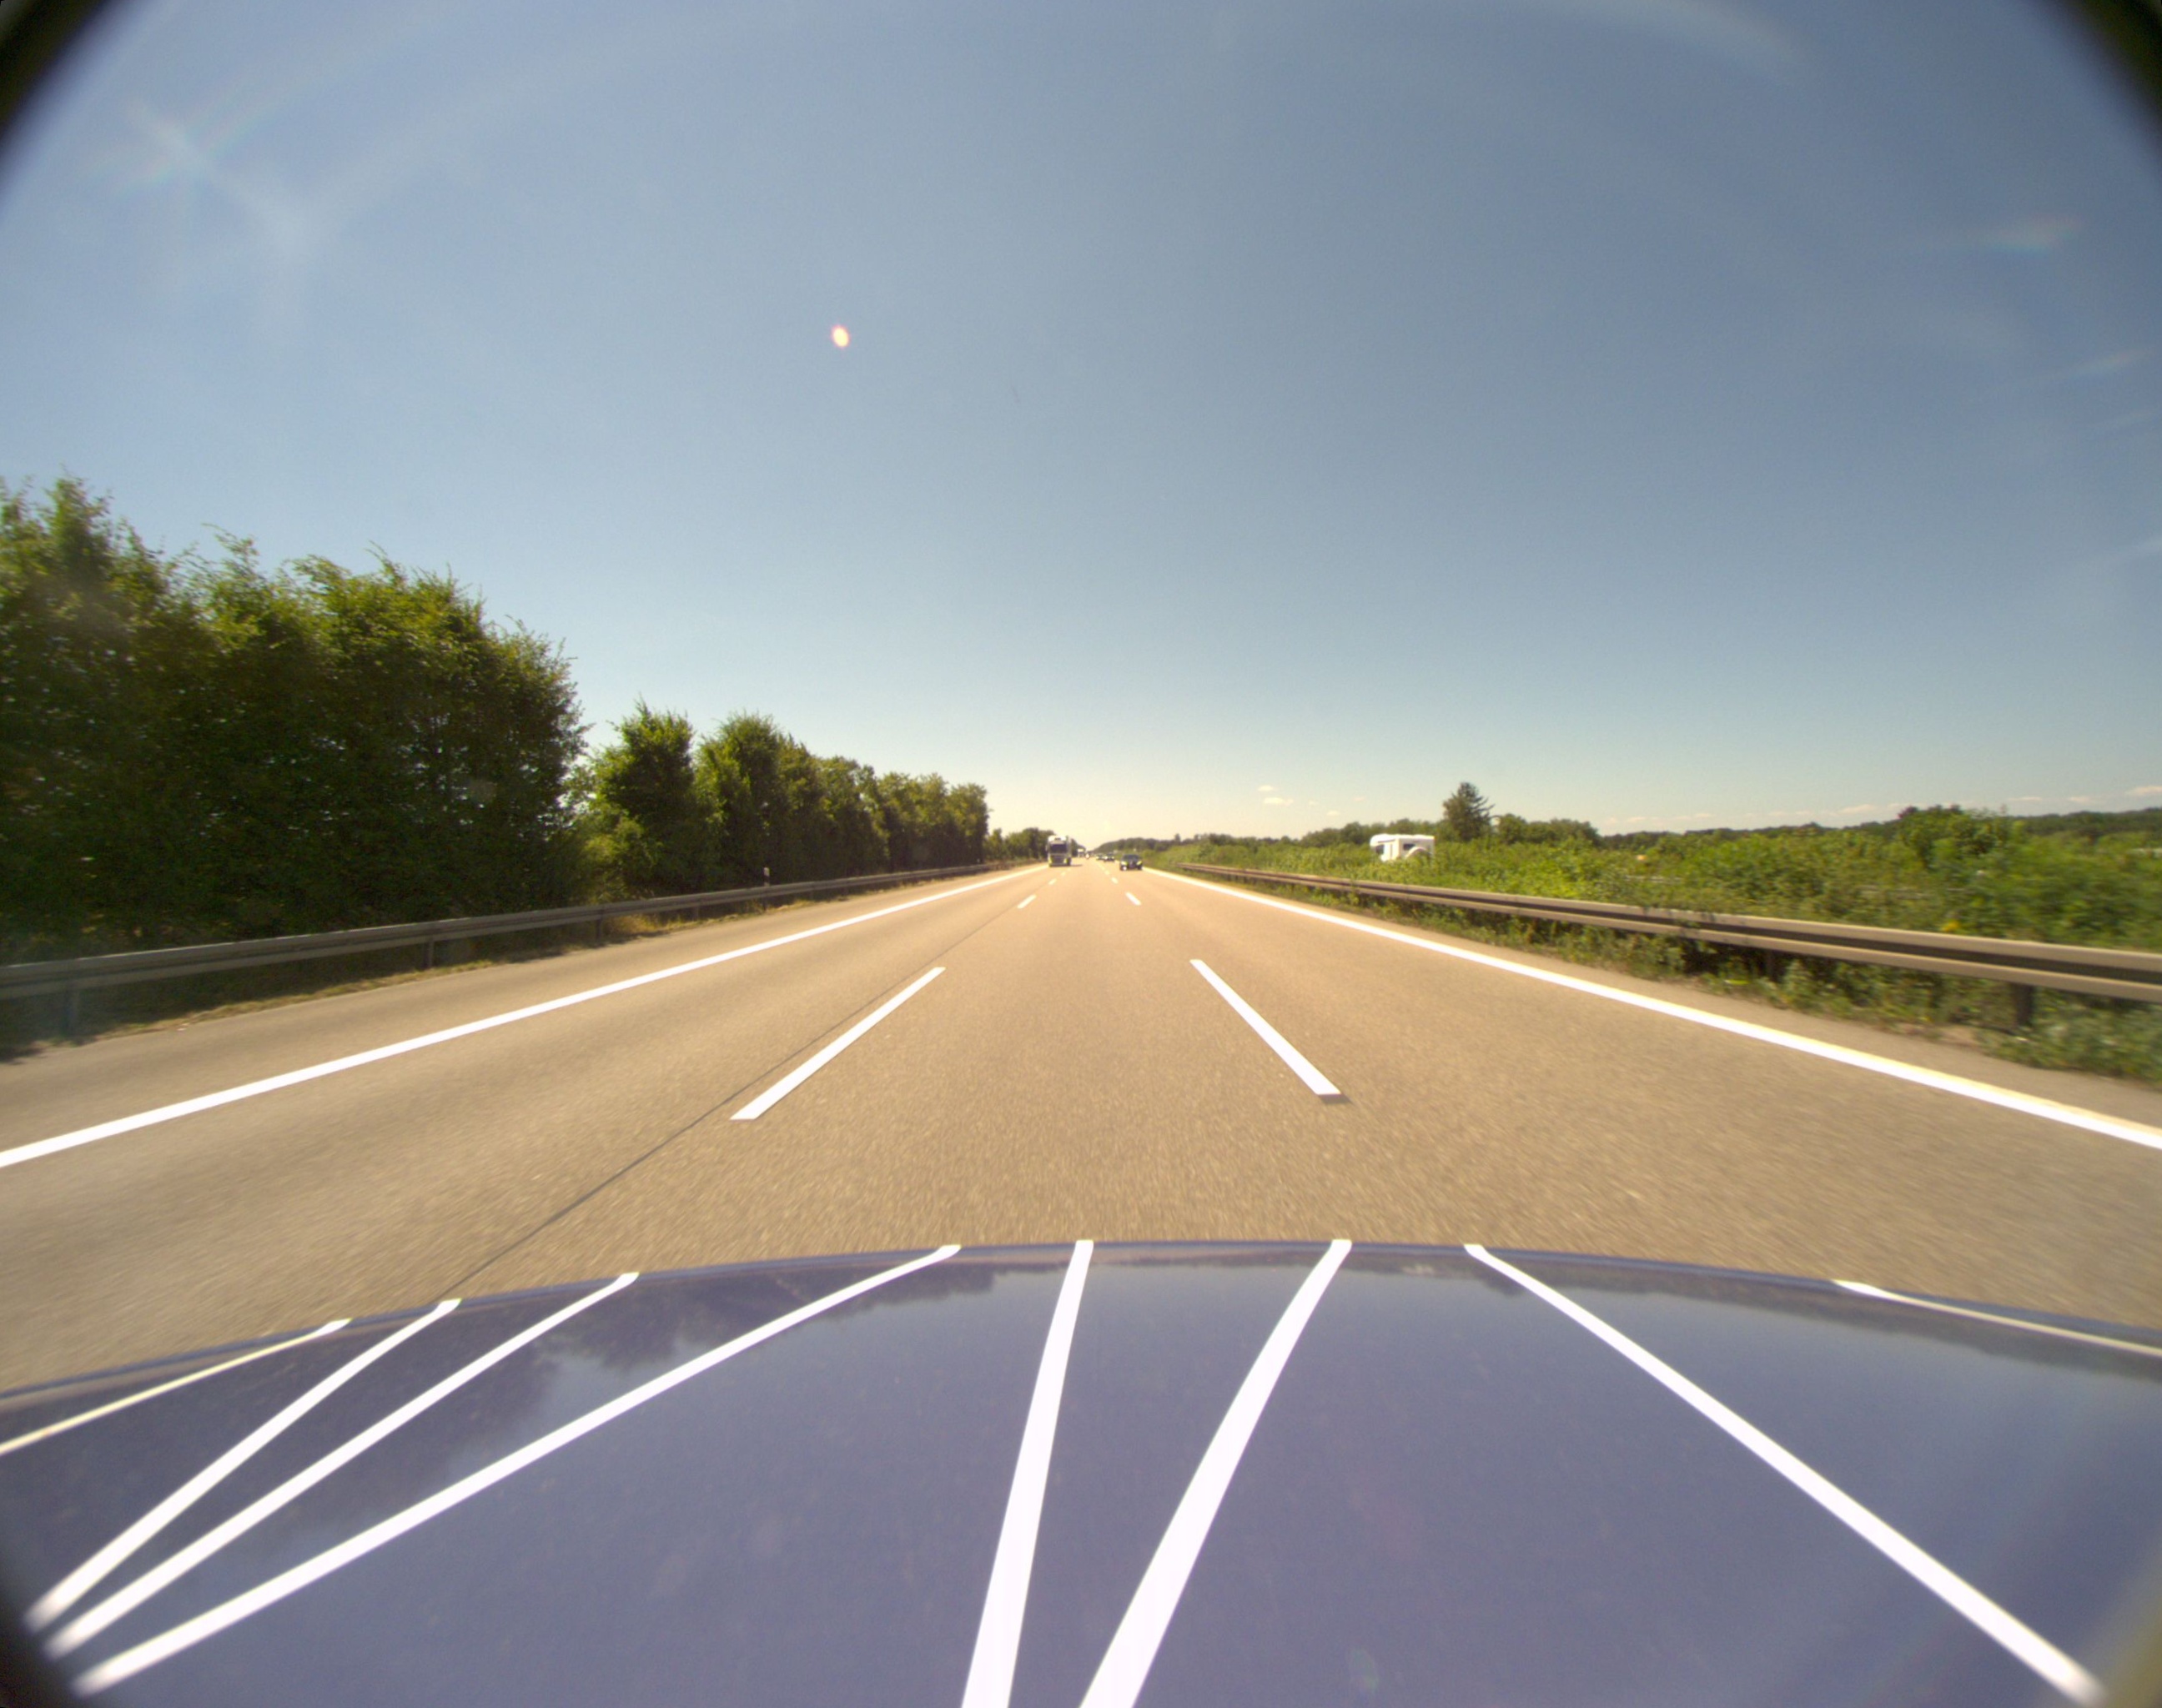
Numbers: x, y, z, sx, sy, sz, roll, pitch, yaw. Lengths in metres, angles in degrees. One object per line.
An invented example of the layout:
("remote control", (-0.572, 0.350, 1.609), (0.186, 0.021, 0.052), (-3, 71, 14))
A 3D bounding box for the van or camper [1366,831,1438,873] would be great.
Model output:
("van or camper", (20.768, -0.144, 49.532), (1.998, 2.530, 6.298), (-2, 0, 1))

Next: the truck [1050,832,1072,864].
("truck", (-2.562, -0.826, 100.287), (2.476, 4.038, 6.320), (-2, 0, 1))

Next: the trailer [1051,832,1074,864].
("trailer", (-2.475, -0.847, 106.615), (2.476, 4.038, 13.880), (-2, 0, 1))

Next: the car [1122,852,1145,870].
("car", (4.597, 0.591, 66.768), (1.811, 1.459, 4.000), (-2, 0, 1))

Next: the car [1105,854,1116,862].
("car", (5.160, 0.673, 134.032), (1.811, 1.417, 4.000), (-2, 0, 1))

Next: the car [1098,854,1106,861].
("car", (4.744, 0.799, 174.651), (1.811, 1.417, 4.000), (-2, 0, 1))
